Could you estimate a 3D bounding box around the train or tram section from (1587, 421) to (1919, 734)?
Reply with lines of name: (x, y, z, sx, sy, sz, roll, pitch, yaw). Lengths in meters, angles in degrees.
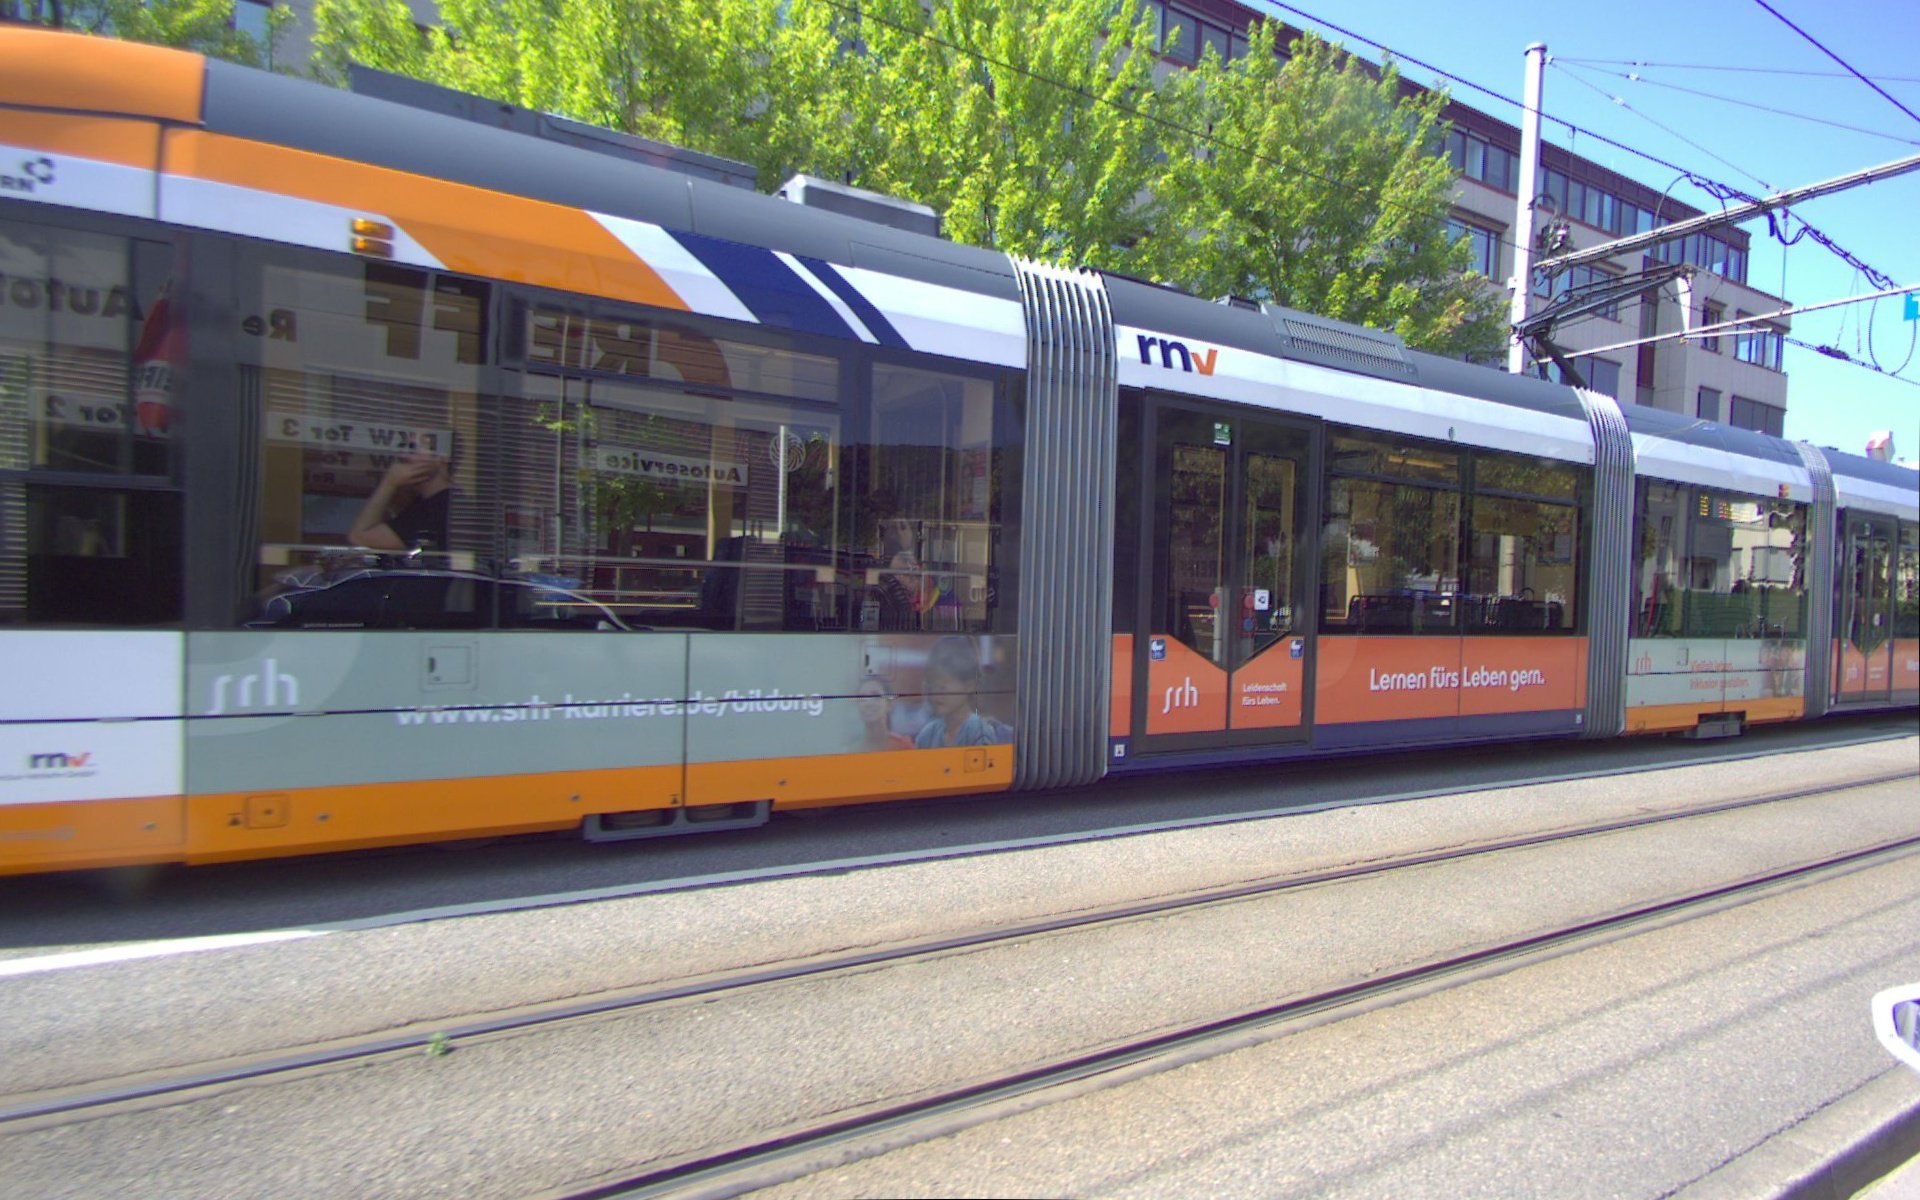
train or tram section: (12.111, -0.188, 14.156, 7.055, 3.493, 2.567, 2, 1, -31)

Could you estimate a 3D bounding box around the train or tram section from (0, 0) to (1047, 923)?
train or tram section: (-2.646, -0.689, 5.238, 5.677, 3.580, 2.597, 2, 1, -31)

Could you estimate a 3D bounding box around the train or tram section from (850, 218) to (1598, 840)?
train or tram section: (2.307, -0.351, 8.270, 5.776, 3.493, 2.597, 2, 1, -31)

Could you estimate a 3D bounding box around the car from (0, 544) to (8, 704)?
car: (-10.431, 0.151, 7.689, 4.231, 1.492, 1.714, 2, -3, -32)

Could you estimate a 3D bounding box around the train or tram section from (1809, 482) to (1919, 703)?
train or tram section: (17.844, -0.051, 17.609, 6.290, 3.493, 2.567, 2, 1, -31)

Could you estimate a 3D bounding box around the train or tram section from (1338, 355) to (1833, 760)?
train or tram section: (6.933, -0.333, 11.078, 4.953, 3.493, 2.597, 2, 1, -31)

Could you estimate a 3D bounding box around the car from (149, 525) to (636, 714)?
car: (-5.601, 0.227, 10.334, 4.025, 1.605, 1.714, 2, -2, -32)
